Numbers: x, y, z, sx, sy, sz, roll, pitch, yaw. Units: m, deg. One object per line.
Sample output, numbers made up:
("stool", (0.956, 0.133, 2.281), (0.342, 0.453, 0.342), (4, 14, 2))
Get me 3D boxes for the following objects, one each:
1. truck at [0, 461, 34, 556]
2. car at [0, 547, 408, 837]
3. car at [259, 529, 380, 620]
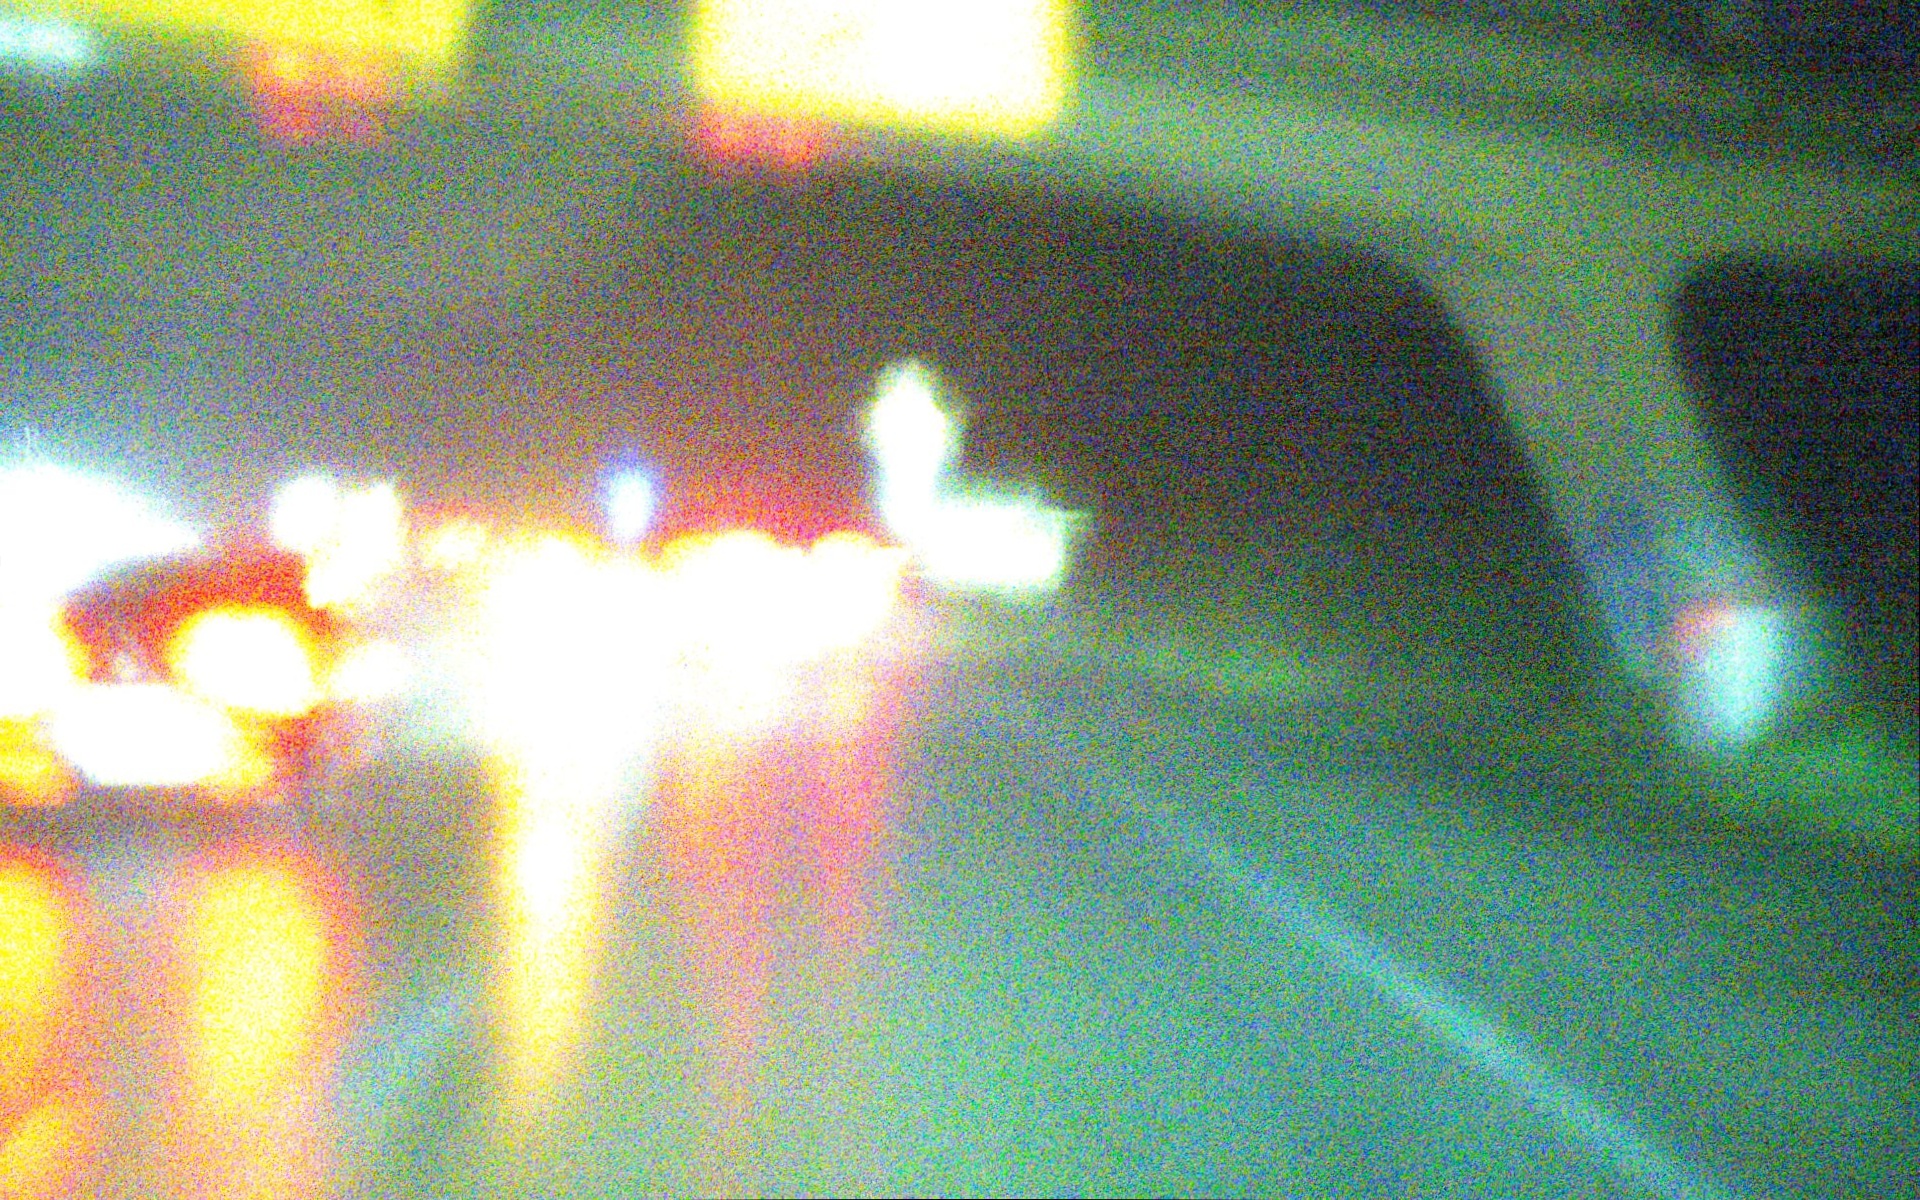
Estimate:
("truck", (-35.962, -3.406, 128.224), (2.603, 3.446, 4.642), (1, 0, -14))
("car", (-4.284, 0.445, 18.846), (1.962, 1.376, 4.049), (2, 0, -2))
("car", (-11.453, -0.455, 61.633), (1.892, 1.545, 4.001), (1, 0, -8))
